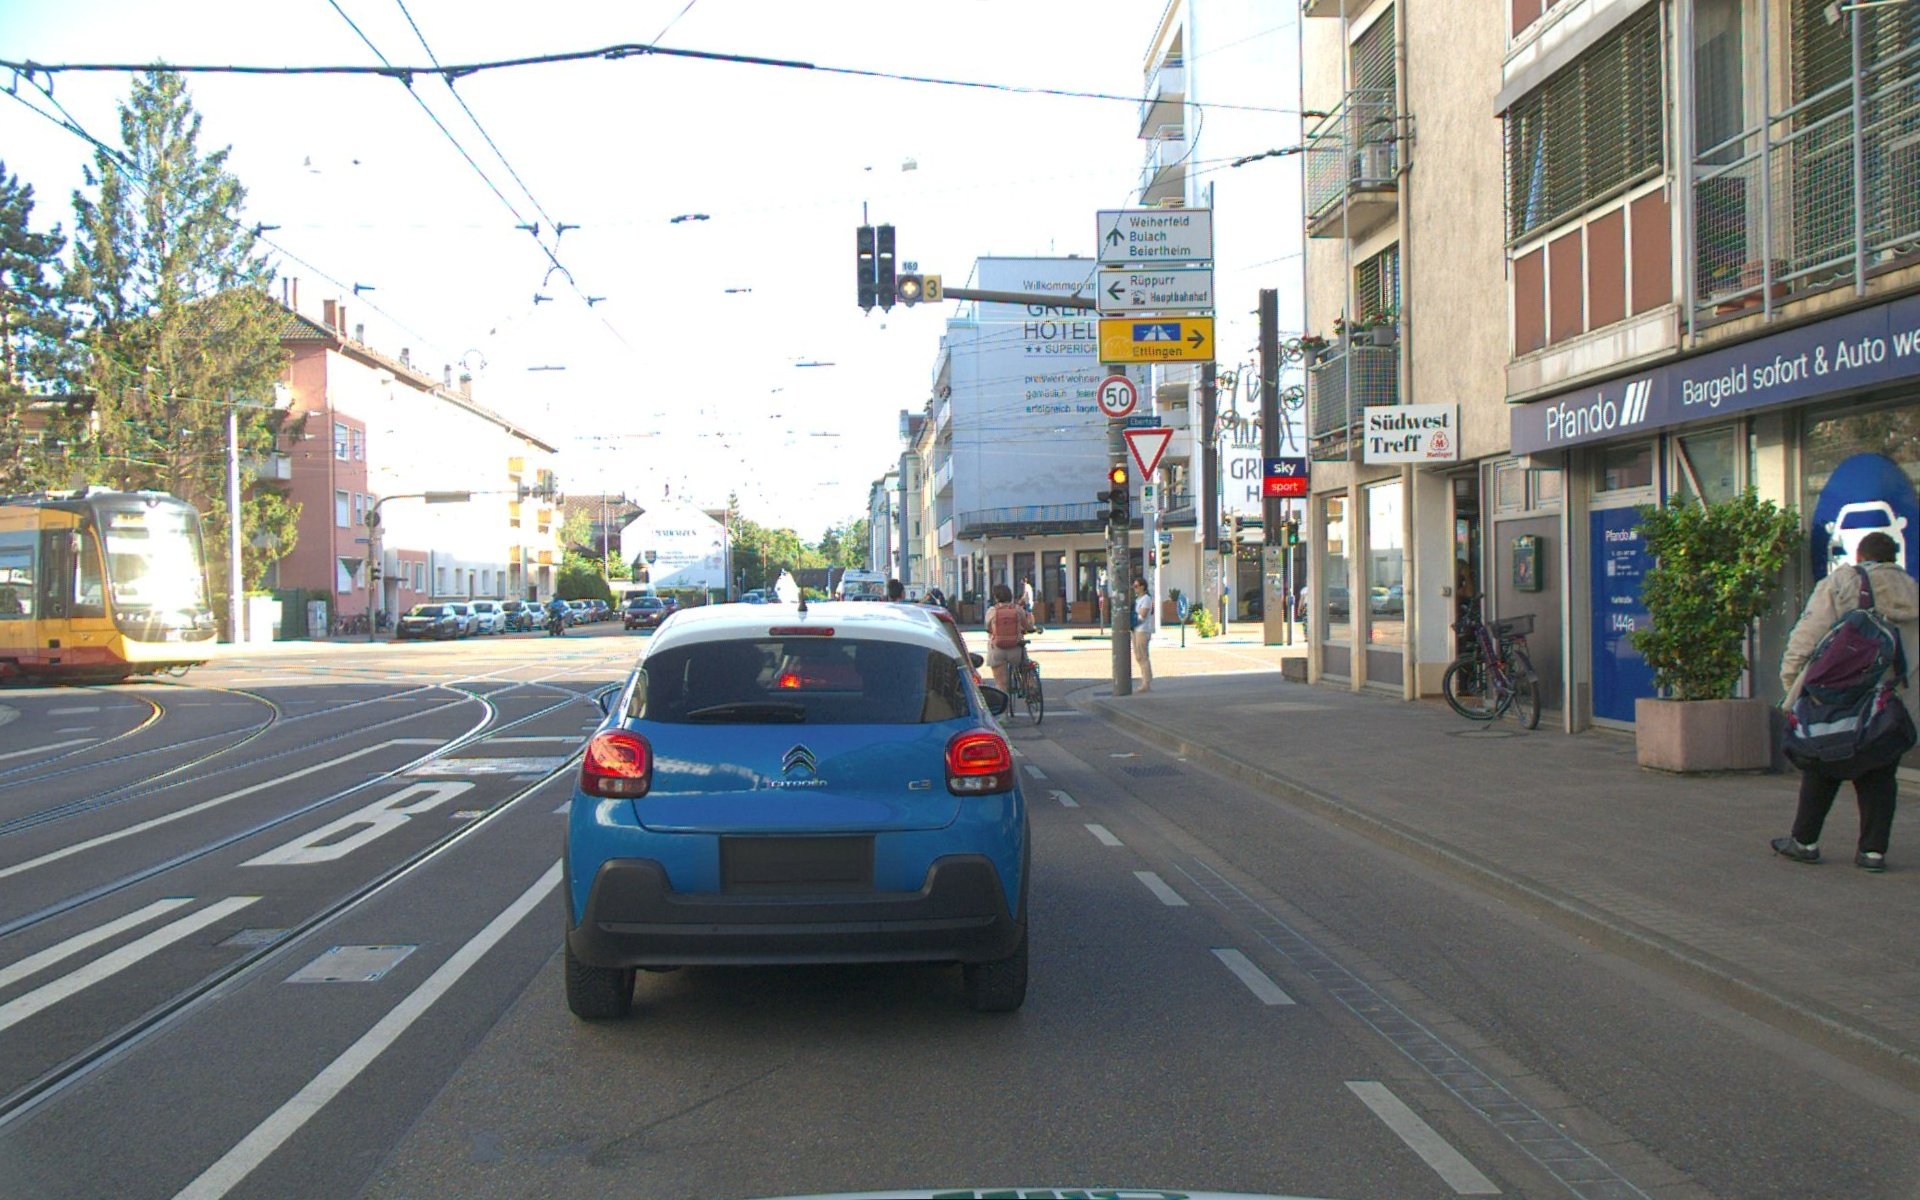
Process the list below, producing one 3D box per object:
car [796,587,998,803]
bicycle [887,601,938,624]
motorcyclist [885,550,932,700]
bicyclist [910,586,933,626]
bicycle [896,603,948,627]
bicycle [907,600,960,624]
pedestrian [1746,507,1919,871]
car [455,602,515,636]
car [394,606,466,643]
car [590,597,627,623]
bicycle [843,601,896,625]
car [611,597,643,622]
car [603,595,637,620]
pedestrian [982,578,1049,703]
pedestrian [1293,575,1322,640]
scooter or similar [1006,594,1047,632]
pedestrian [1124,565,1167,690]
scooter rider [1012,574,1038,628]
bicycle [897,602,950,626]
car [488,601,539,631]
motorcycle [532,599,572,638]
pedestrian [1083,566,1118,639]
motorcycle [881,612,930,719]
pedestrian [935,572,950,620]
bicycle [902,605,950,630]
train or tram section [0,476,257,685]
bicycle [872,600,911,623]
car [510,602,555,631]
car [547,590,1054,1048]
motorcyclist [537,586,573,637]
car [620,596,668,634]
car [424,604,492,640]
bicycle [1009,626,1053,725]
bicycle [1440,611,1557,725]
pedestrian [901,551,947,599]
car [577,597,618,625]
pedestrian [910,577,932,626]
[{"bbox_3d":[-0.464,0.678,13.121,1.395,1.493,2.923,-1,0,-1],"label":"car"},{"bbox_3d":[-1.958,0.500,68.241,2.093,0.917,0.366,1,-1,-10],"label":"bicycle"},{"bbox_3d":[-0.611,0.293,19.606,0.516,1.746,0.717,1,-1,-1],"label":"motorcyclist"},{"bbox_3d":[-1.464,0.230,62.685,0.730,1.503,0.563,1,-1,17],"label":"bicyclist"},{"bbox_3d":[-1.559,0.619,67.500,2.093,0.917,0.366,1,-1,-10],"label":"bicycle"},{"bbox_3d":[-1.060,0.481,66.019,2.093,0.917,0.366,1,-1,-10],"label":"bicycle"},{"bbox_3d":[4.284,0.402,7.768,0.808,1.620,0.751,1,-1,-1],"label":"pedestrian"},{"bbox_3d":[-22.667,0.878,79.039,1.751,1.537,4.148,1,0,-2],"label":"car"},{"bbox_3d":[-21.910,1.007,68.459,1.757,1.446,3.994,1,0,-2],"label":"car"},{"bbox_3d":[-23.554,0.672,110.939,1.845,1.716,3.997,1,0,-4],"label":"car"},{"bbox_3d":[-3.610,0.525,66.206,2.093,0.917,0.366,1,-1,-10],"label":"bicycle"},{"bbox_3d":[-24.310,0.699,120.858,1.809,1.716,3.871,1,0,-4],"label":"car"},{"bbox_3d":[-23.873,0.509,116.311,1.797,1.716,3.997,1,0,-4],"label":"car"},{"bbox_3d":[0.674,0.486,20.228,0.761,1.486,0.681,1,-1,-1],"label":"pedestrian"},{"bbox_3d":[8.892,0.197,42.327,0.720,1.629,0.749,1,-1,12],"label":"pedestrian"},{"bbox_3d":[2.356,0.446,58.363,1.321,1.291,0.444,-2,-1,19],"label":"scooter or similar"},{"bbox_3d":[2.737,0.398,24.433,0.507,1.814,0.595,1,-1,-3],"label":"pedestrian"},{"bbox_3d":[2.280,0.037,58.381,0.707,1.864,0.718,-1,0,18],"label":"scooter rider"},{"bbox_3d":[-1.492,0.565,67.066,2.093,0.917,0.366,1,-1,-10],"label":"bicycle"},{"bbox_3d":[-23.118,0.810,85.745,1.750,1.524,3.997,1,0,-4],"label":"car"},{"bbox_3d":[-16.398,0.736,66.600,0.905,1.512,3.723,1,0,-4],"label":"motorcycle"},{"bbox_3d":[3.993,0.071,47.006,0.907,2.049,0.759,1,-1,-1],"label":"pedestrian"},{"bbox_3d":[-0.619,0.734,19.416,0.515,1.159,2.289,1,0,-1],"label":"motorcycle"},{"bbox_3d":[-0.739,-0.164,70.116,0.565,2.049,0.625,1,-1,-3],"label":"pedestrian"},{"bbox_3d":[-1.286,0.654,62.641,1.814,0.919,0.350,1,-1,19],"label":"bicycle"},{"bbox_3d":[-19.428,-0.310,33.504,12.364,3.656,3.064,-1,1,33],"label":"train or tram section"},{"bbox_3d":[-2.896,0.476,69.393,1.751,0.917,0.365,1,-1,34],"label":"bicycle"},{"bbox_3d":[-23.681,0.912,91.702,1.699,1.524,3.996,1,0,-5],"label":"car"},{"bbox_3d":[-0.541,0.721,7.145,1.620,1.469,3.522,1,0,-1],"label":"car"},{"bbox_3d":[-16.359,0.452,66.835,1.162,2.049,1.274,-1,0,-4],"label":"motorcyclist"},{"bbox_3d":[-14.538,0.684,76.187,1.740,1.695,3.853,1,0,-4],"label":"car"},{"bbox_3d":[-22.411,0.951,73.995,1.778,1.524,4.299,1,0,-1],"label":"car"},{"bbox_3d":[0.875,0.910,20.633,0.419,1.142,1.998,1,0,-1],"label":"bicycle"},{"bbox_3d":[5.104,0.618,15.773,0.531,1.016,1.705,1,0,-1],"label":"bicycle"},{"bbox_3d":[-1.605,-1.085,73.524,1.953,2.049,3.999,1,0,-1],"label":"pedestrian"},{"bbox_3d":[-23.173,0.693,105.901,1.944,1.716,3.997,1,0,-4],"label":"car"},{"bbox_3d":[-1.637,0.069,69.087,0.625,2.049,0.715,1,-1,-37],"label":"pedestrian"}]
